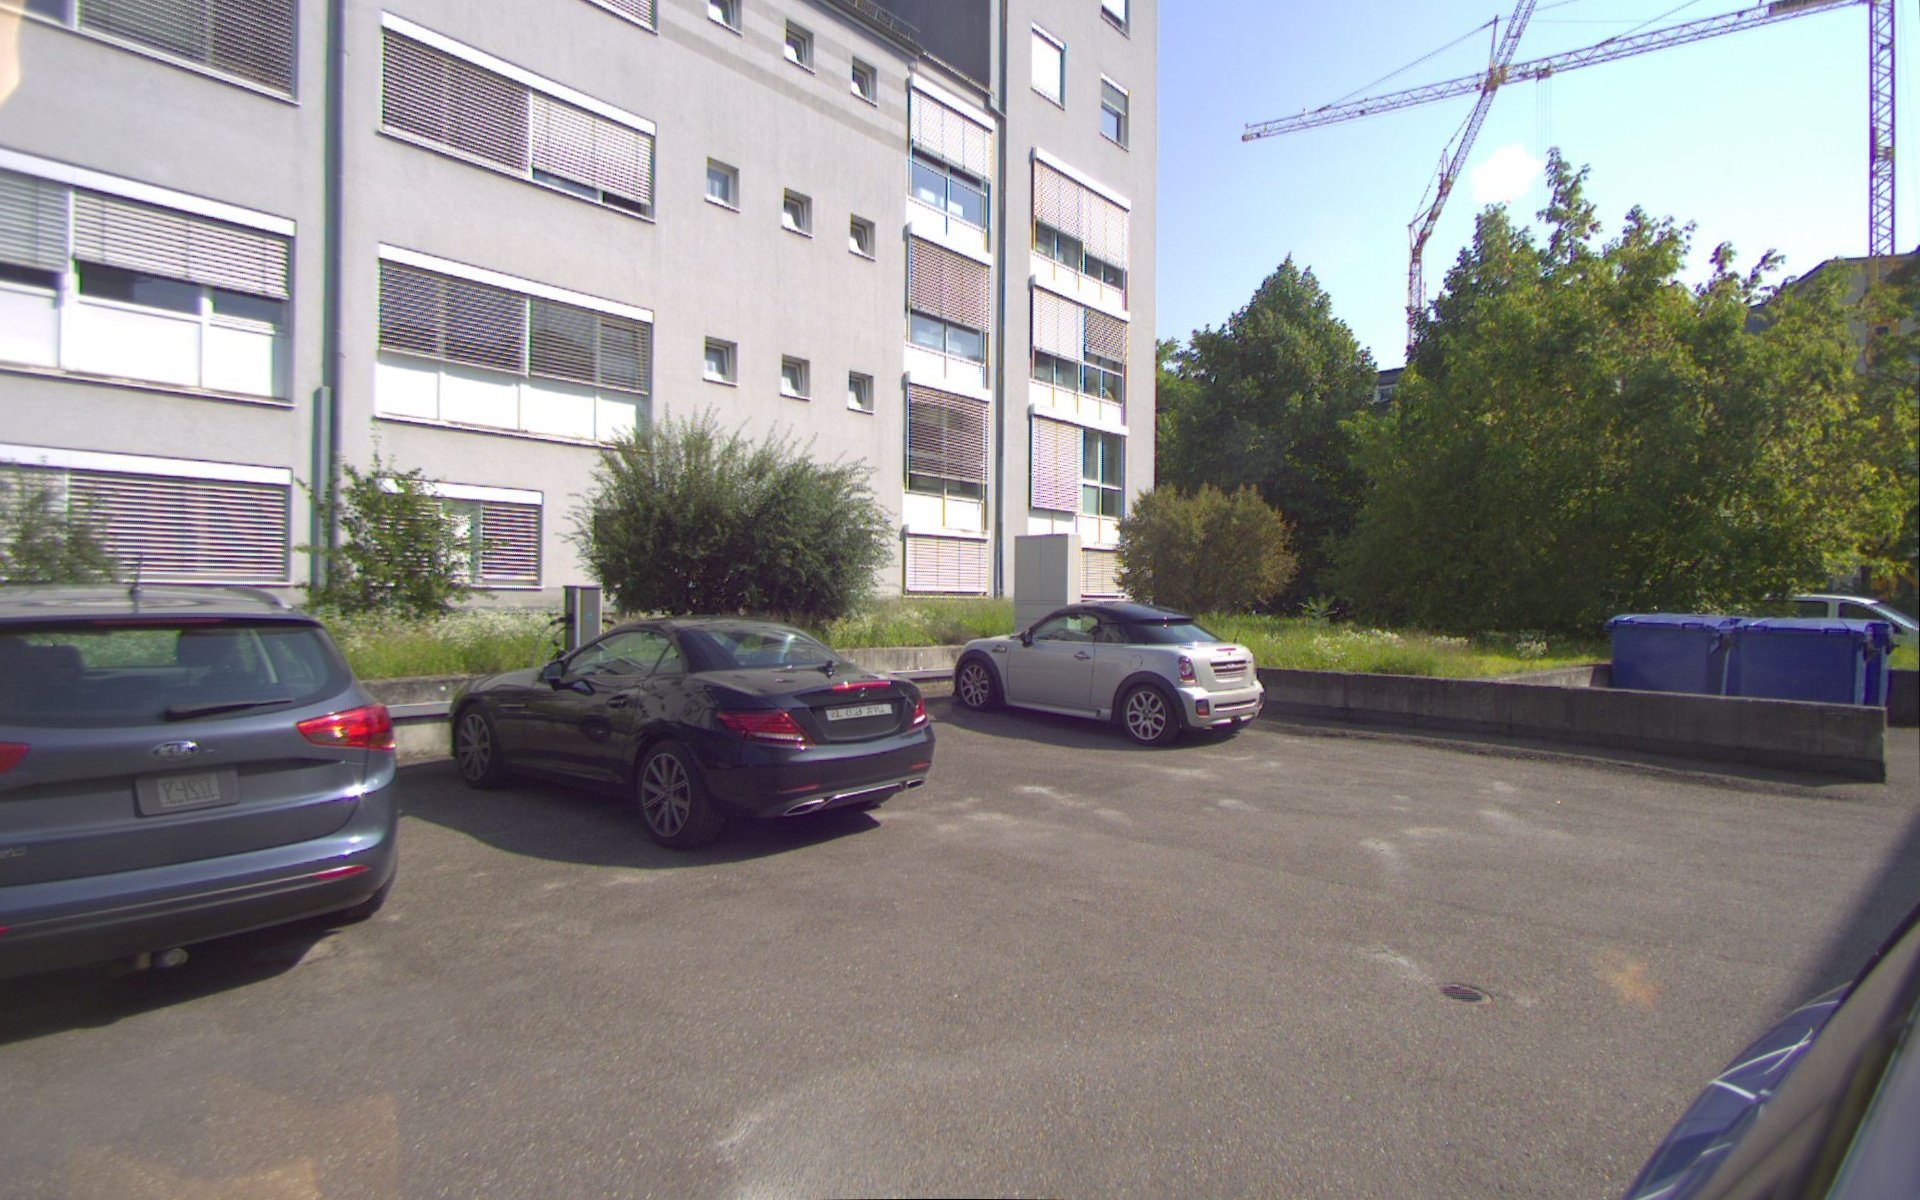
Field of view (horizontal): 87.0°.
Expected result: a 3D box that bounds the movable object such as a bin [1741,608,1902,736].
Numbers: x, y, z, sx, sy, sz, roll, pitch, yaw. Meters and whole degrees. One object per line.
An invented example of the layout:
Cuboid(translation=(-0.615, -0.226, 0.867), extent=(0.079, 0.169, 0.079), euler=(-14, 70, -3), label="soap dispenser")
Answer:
Cuboid(translation=(10.109, 0.790, 11.882), extent=(1.174, 1.357, 1.302), euler=(0, 0, -42), label="movable object such as a bin")

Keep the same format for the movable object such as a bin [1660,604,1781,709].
Cuboid(translation=(10.533, 0.739, 14.026), extent=(1.226, 1.357, 1.060), euler=(0, 0, 44), label="movable object such as a bin")

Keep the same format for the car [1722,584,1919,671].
Cuboid(translation=(21.634, 0.619, 24.318), extent=(2.007, 1.945, 4.967), euler=(-1, 0, -39), label="car")

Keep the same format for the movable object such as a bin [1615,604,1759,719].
Cuboid(translation=(9.265, 0.741, 12.911), extent=(1.097, 1.357, 1.237), euler=(0, 0, -38), label="movable object such as a bin")

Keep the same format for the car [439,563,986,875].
Cuboid(translation=(-1.873, 0.605, 7.147), extent=(3.792, 1.609, 1.871), euler=(0, 0, 39), label="car")

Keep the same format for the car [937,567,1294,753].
Cuboid(translation=(1.630, 0.516, 11.442), extent=(1.773, 1.563, 3.624), euler=(0, 4, -43), label="car")

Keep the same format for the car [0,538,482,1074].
Cuboid(translation=(-3.947, 0.614, 4.734), extent=(3.861, 1.609, 1.850), euler=(0, 0, 44), label="car")

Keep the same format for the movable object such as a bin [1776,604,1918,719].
Cuboid(translation=(11.405, 0.741, 13.016), extent=(1.082, 1.357, 1.310), euler=(0, 0, -45), label="movable object such as a bin")
